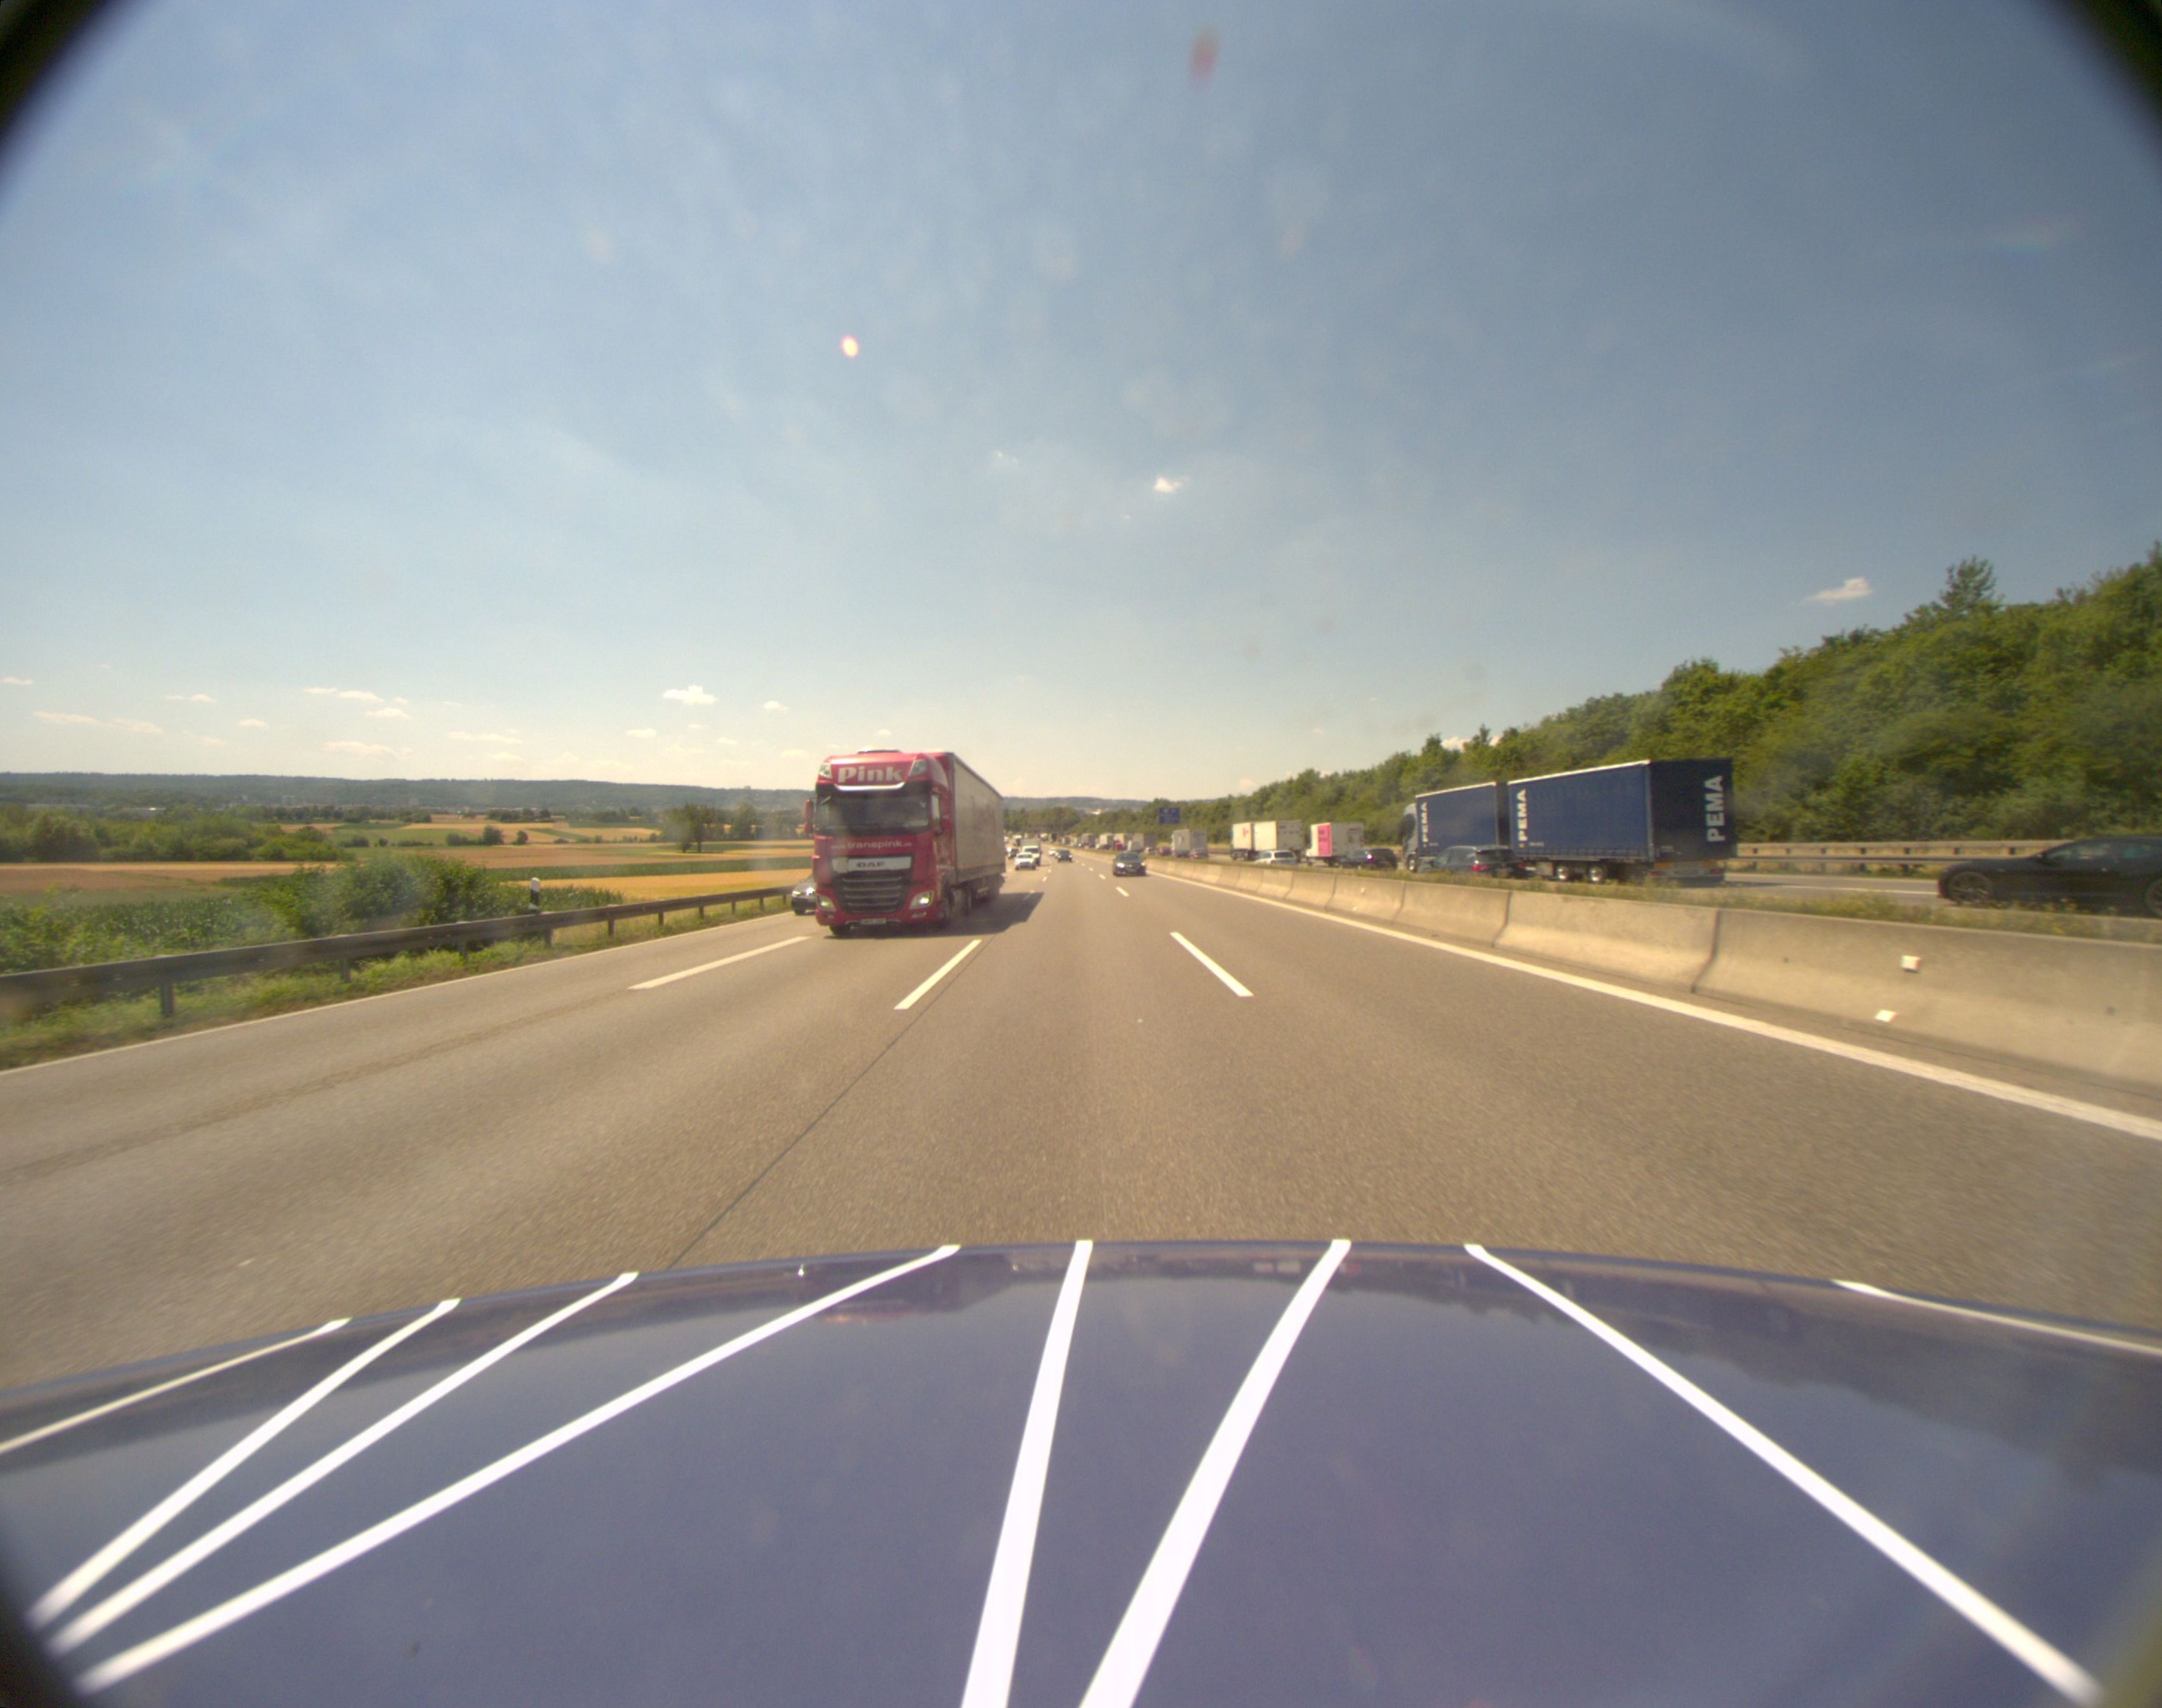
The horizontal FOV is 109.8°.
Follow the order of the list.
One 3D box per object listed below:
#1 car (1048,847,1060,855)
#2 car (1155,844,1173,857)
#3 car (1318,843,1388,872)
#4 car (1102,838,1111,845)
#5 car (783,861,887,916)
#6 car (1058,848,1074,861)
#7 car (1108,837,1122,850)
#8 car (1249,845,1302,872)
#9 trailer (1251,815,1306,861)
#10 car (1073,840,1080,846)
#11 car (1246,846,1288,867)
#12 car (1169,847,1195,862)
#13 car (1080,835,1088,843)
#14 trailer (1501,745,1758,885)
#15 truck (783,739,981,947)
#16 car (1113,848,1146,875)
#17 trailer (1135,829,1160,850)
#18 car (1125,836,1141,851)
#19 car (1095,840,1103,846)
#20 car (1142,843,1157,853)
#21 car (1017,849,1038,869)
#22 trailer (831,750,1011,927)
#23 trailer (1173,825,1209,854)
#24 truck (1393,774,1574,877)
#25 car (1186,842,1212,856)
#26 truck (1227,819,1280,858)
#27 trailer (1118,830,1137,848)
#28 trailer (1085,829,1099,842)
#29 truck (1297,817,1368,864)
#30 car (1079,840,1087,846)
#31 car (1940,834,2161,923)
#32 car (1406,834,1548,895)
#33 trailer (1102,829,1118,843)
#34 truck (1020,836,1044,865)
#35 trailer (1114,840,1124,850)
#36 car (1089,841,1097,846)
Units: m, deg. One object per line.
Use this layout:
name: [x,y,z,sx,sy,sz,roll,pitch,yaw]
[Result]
car: [-5.402,-0.665,152.904,1.999,1.467,3.996,-2,3,-6]
car: [12.572,-0.551,115.665,1.866,1.632,5.110,-2,3,-3]
car: [15.144,0.164,42.593,1.999,1.447,5.169,-1,1,-1]
car: [6.681,-3.328,199.844,1.999,1.706,4.788,-2,2,-5]
car: [-7.698,1.028,24.182,2.037,1.543,3.999,-1,0,-1]
car: [-1.999,0.030,99.074,1.866,1.426,3.997,-1,2,-3]
car: [7.998,-2.563,178.907,2.243,2.997,6.546,-1,1,-6]
car: [11.346,0.237,44.674,1.842,1.278,4.872,-2,3,0]
trailer: [18.657,-1.468,72.316,2.928,4.048,8.228,-1,1,-1]
car: [-1.390,-3.505,245.950,1.999,1.634,4.402,-2,2,-5]
car: [14.650,0.137,60.097,1.999,1.518,4.771,-2,1,-1]
car: [10.767,0.014,81.407,1.999,1.518,4.771,-2,1,-1]
car: [1.061,-5.024,258.305,1.903,2.559,7.566,-2,2,-5]
trailer: [18.987,-1.218,27.291,2.993,4.168,8.593,-1,1,0]
truck: [-4.350,-0.276,18.251,2.924,3.986,6.509,-2,1,-1]
car: [2.985,0.435,47.380,1.807,1.534,4.750,-1,0,1]
trailer: [14.075,-3.250,162.130,2.990,4.183,14.183,-2,2,-4]
car: [10.327,-2.095,151.033,2.145,2.771,6.620,-2,3,-3]
car: [4.983,-2.999,210.180,1.886,1.466,4.402,-2,2,-5]
car: [11.738,-1.089,130.420,1.756,1.452,4.855,-2,3,-3]
car: [-4.998,0.398,70.662,1.837,1.636,4.169,-2,2,-5]
trailer: [-4.421,-0.491,24.917,2.926,4.094,13.854,-2,1,-1]
trailer: [16.606,-2.204,116.091,2.910,4.063,14.439,-1,1,-2]
truck: [18.938,-1.241,36.942,3.009,4.209,10.731,-1,1,0]
car: [13.946,-0.635,90.116,1.999,1.536,5.492,-1,1,-2]
truck: [18.388,-1.563,81.643,2.850,3.876,11.243,-1,1,-2]
trailer: [11.654,-3.770,191.653,2.819,4.254,13.859,-2,2,-5]
trailer: [3.682,-6.507,267.467,3.232,4.396,13.767,-1,2,-6]
truck: [18.562,-0.976,56.635,2.545,3.189,7.586,-2,1,-2]
car: [0.634,-3.267,226.226,1.937,1.679,4.793,-1,1,-4]
car: [18.535,0.384,13.331,1.660,1.423,4.647,-1,1,-1]
car: [11.665,0.276,22.778,1.842,1.574,4.554,-2,0,0]
trailer: [8.424,-5.268,225.109,2.912,3.851,13.866,-2,2,-5]
truck: [-5.503,-0.502,85.850,2.446,3.011,6.911,-2,2,-4]
trailer: [8.635,-2.120,173.781,1.574,2.240,3.959,-1,1,-6]
car: [3.588,-3.233,231.925,1.882,1.426,4.920,-2,2,-5]
